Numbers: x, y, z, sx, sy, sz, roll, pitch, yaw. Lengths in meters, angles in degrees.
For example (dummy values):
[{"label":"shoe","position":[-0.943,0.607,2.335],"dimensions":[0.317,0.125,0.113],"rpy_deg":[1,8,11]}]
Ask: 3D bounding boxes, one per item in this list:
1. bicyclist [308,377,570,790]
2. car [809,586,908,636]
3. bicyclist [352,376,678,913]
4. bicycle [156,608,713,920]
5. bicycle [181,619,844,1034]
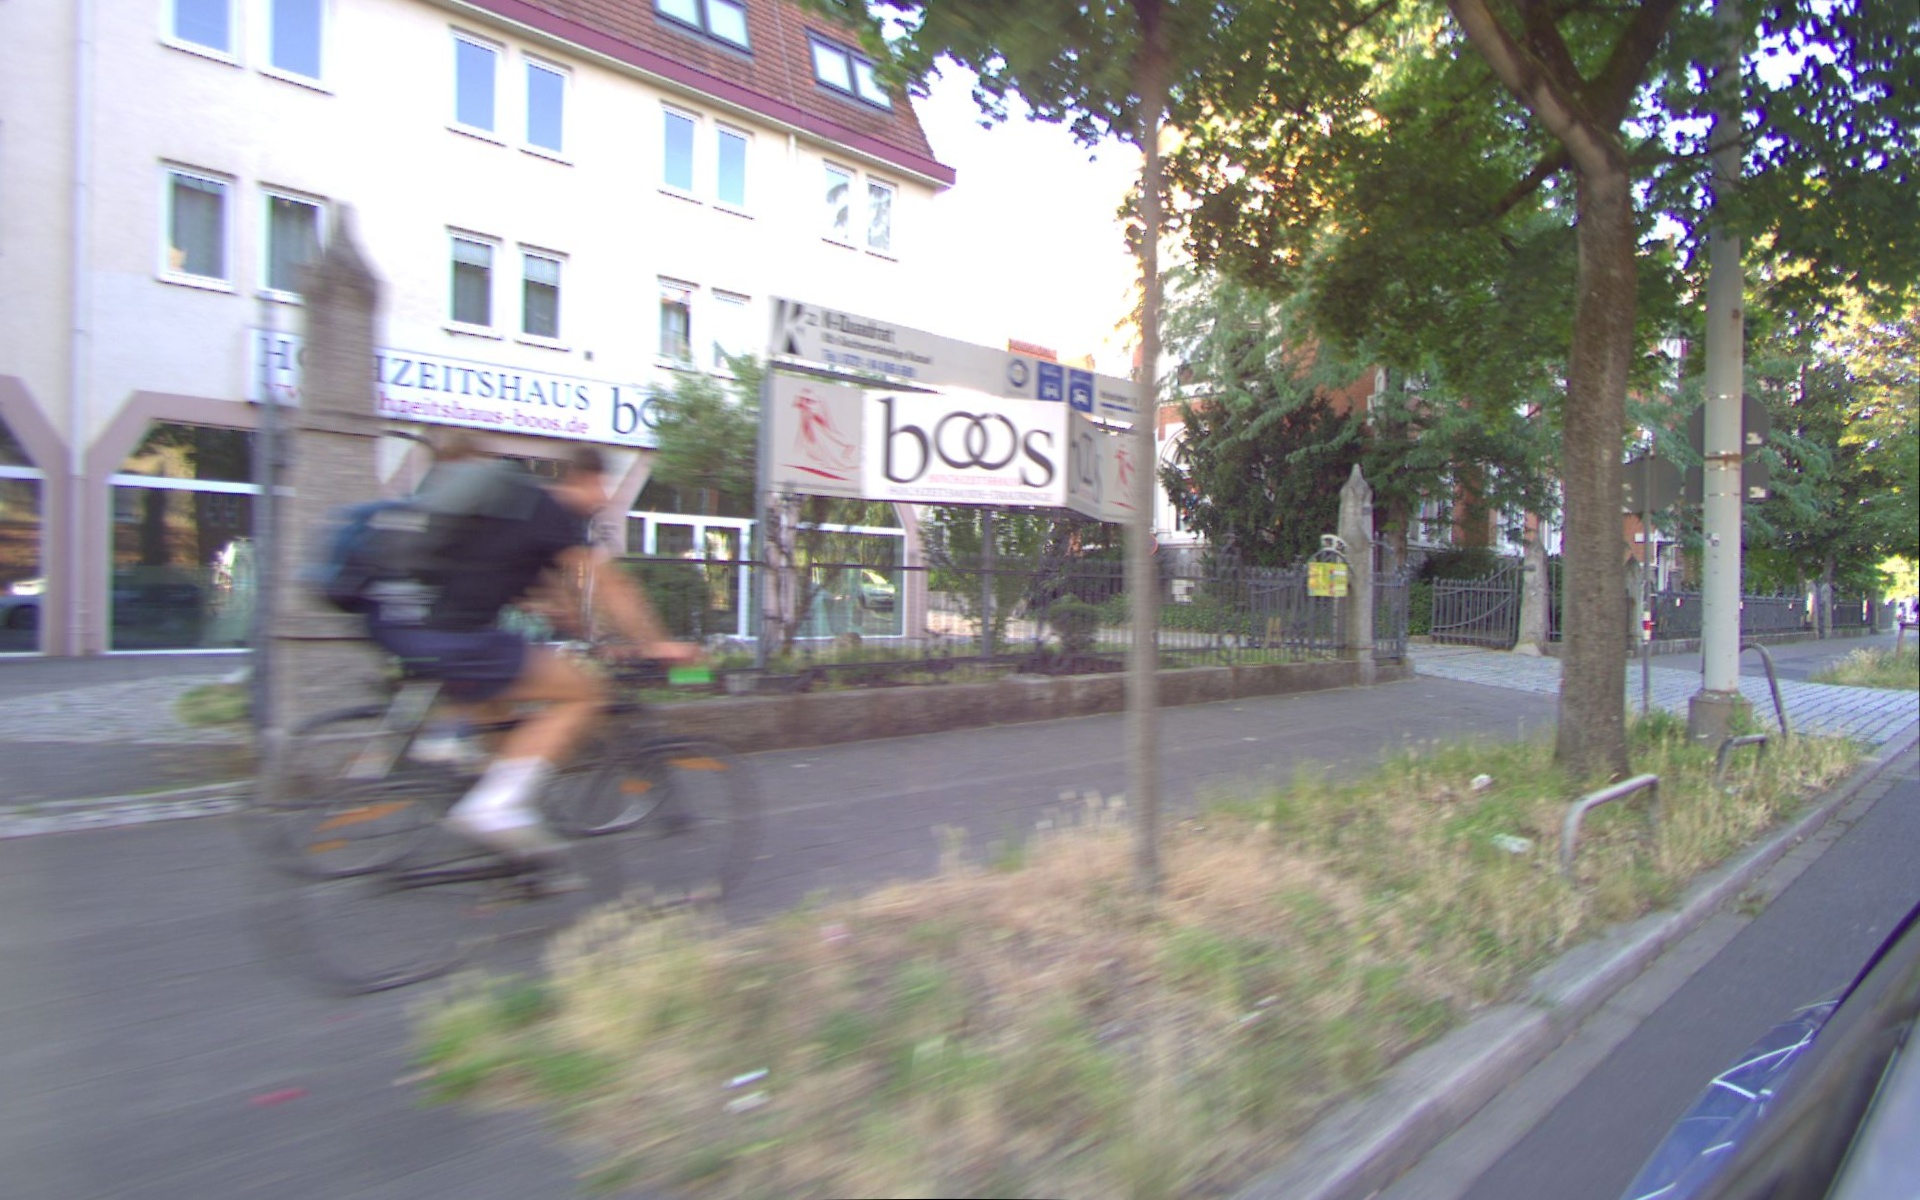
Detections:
[{"label":"bicyclist","position":[-2.212,-0.062,4.316],"dimensions":[0.878,1.552,0.596],"rpy_deg":[1,-1,-41]},{"label":"car","position":[-4.064,0.390,39.951],"dimensions":[1.788,1.503,4.455],"rpy_deg":[0,5,-38]},{"label":"bicyclist","position":[-1.502,0.128,3.445],"dimensions":[0.878,1.552,0.596],"rpy_deg":[1,-1,-41]},{"label":"bicycle","position":[-2.114,0.568,4.333],"dimensions":[2.052,1.053,0.518],"rpy_deg":[0,-1,-42]},{"label":"bicycle","position":[-1.404,0.605,3.532],"dimensions":[2.052,1.053,0.545],"rpy_deg":[0,-1,-42]}]
